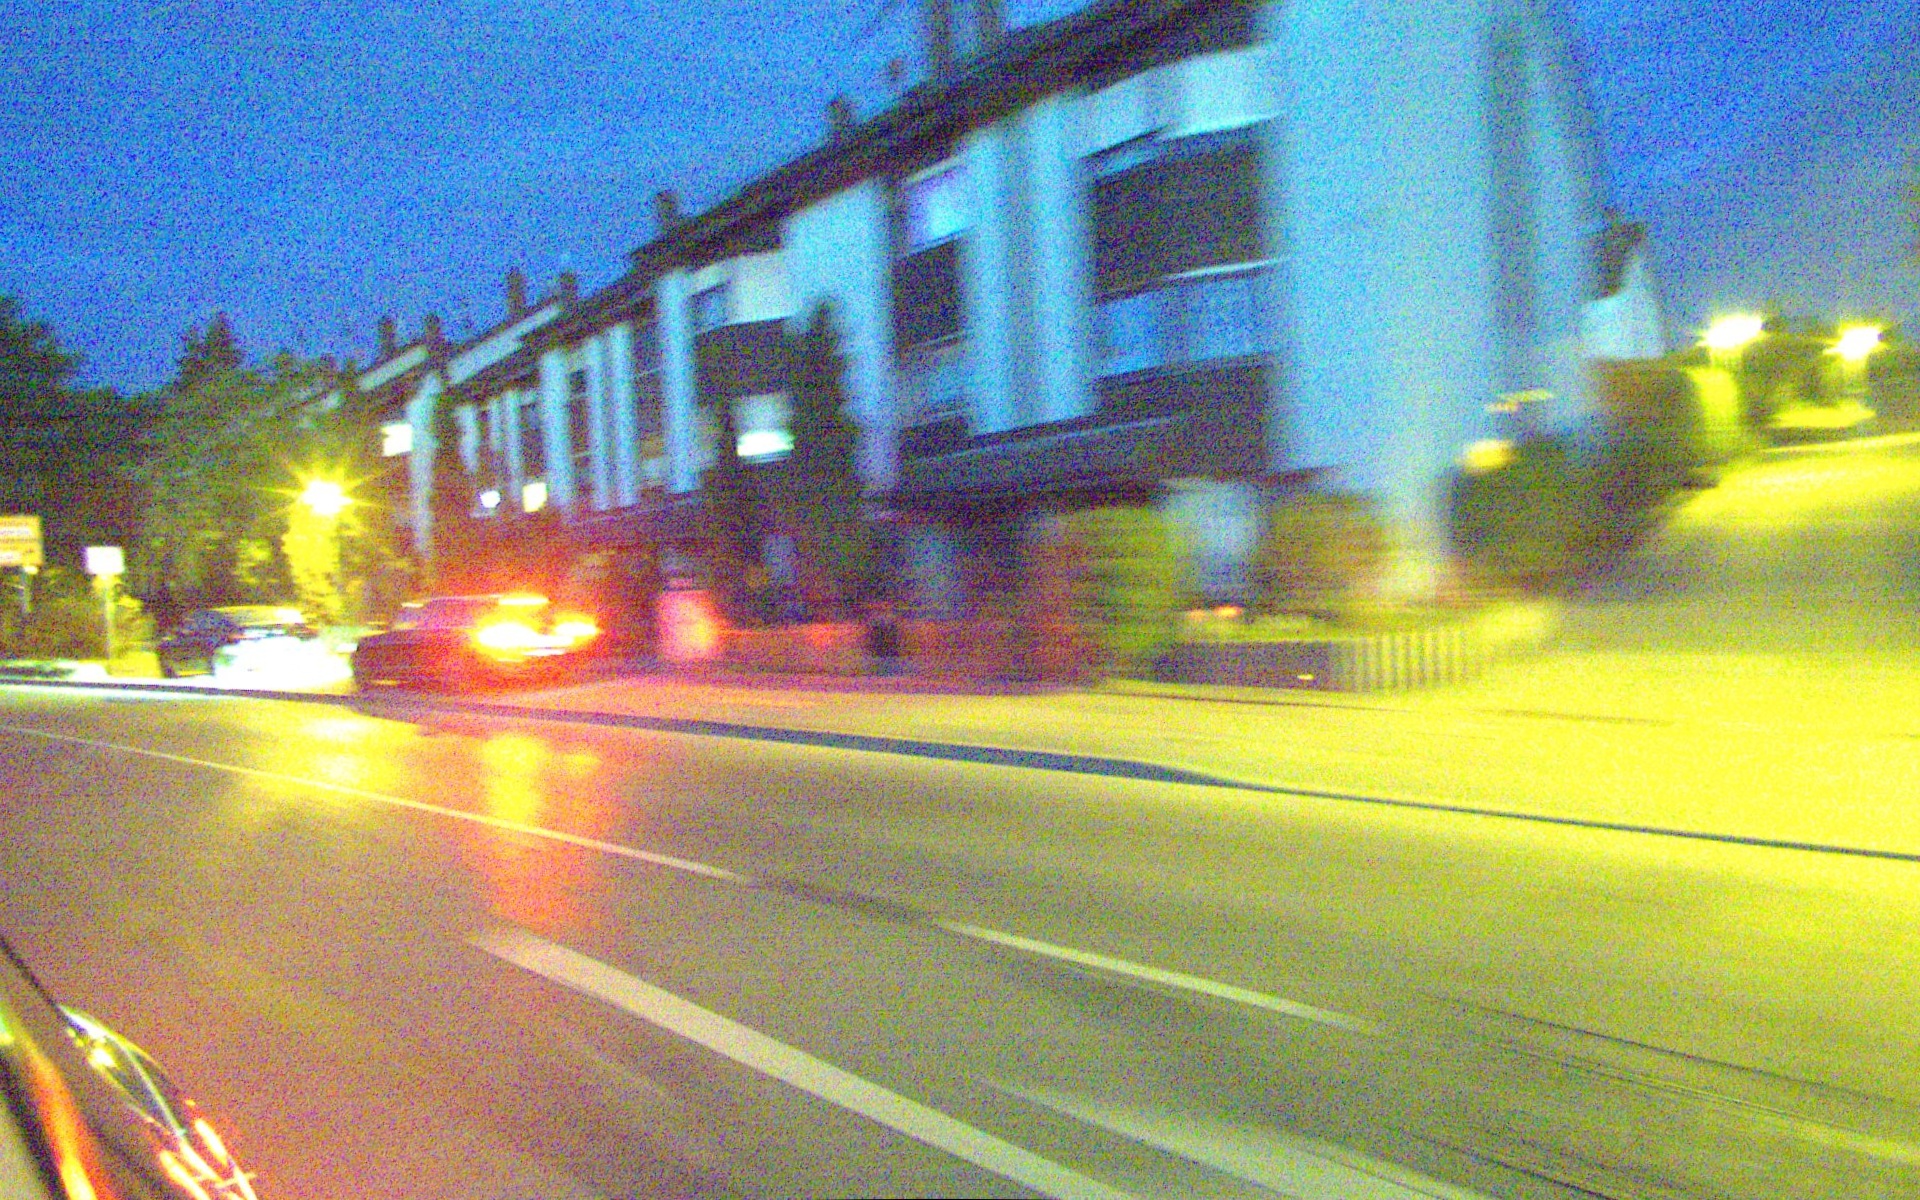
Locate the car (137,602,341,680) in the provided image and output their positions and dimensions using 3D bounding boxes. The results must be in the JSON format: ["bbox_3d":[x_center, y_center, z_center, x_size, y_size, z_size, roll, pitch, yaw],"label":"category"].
[{"bbox_3d":[-15.246,0.833,21.338,4.585,1.390,1.978,-2,1,34],"label":"car"}]

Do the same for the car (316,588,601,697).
[{"bbox_3d":[-8.081,0.635,16.152,4.902,1.456,1.834,-2,1,34],"label":"car"}]
